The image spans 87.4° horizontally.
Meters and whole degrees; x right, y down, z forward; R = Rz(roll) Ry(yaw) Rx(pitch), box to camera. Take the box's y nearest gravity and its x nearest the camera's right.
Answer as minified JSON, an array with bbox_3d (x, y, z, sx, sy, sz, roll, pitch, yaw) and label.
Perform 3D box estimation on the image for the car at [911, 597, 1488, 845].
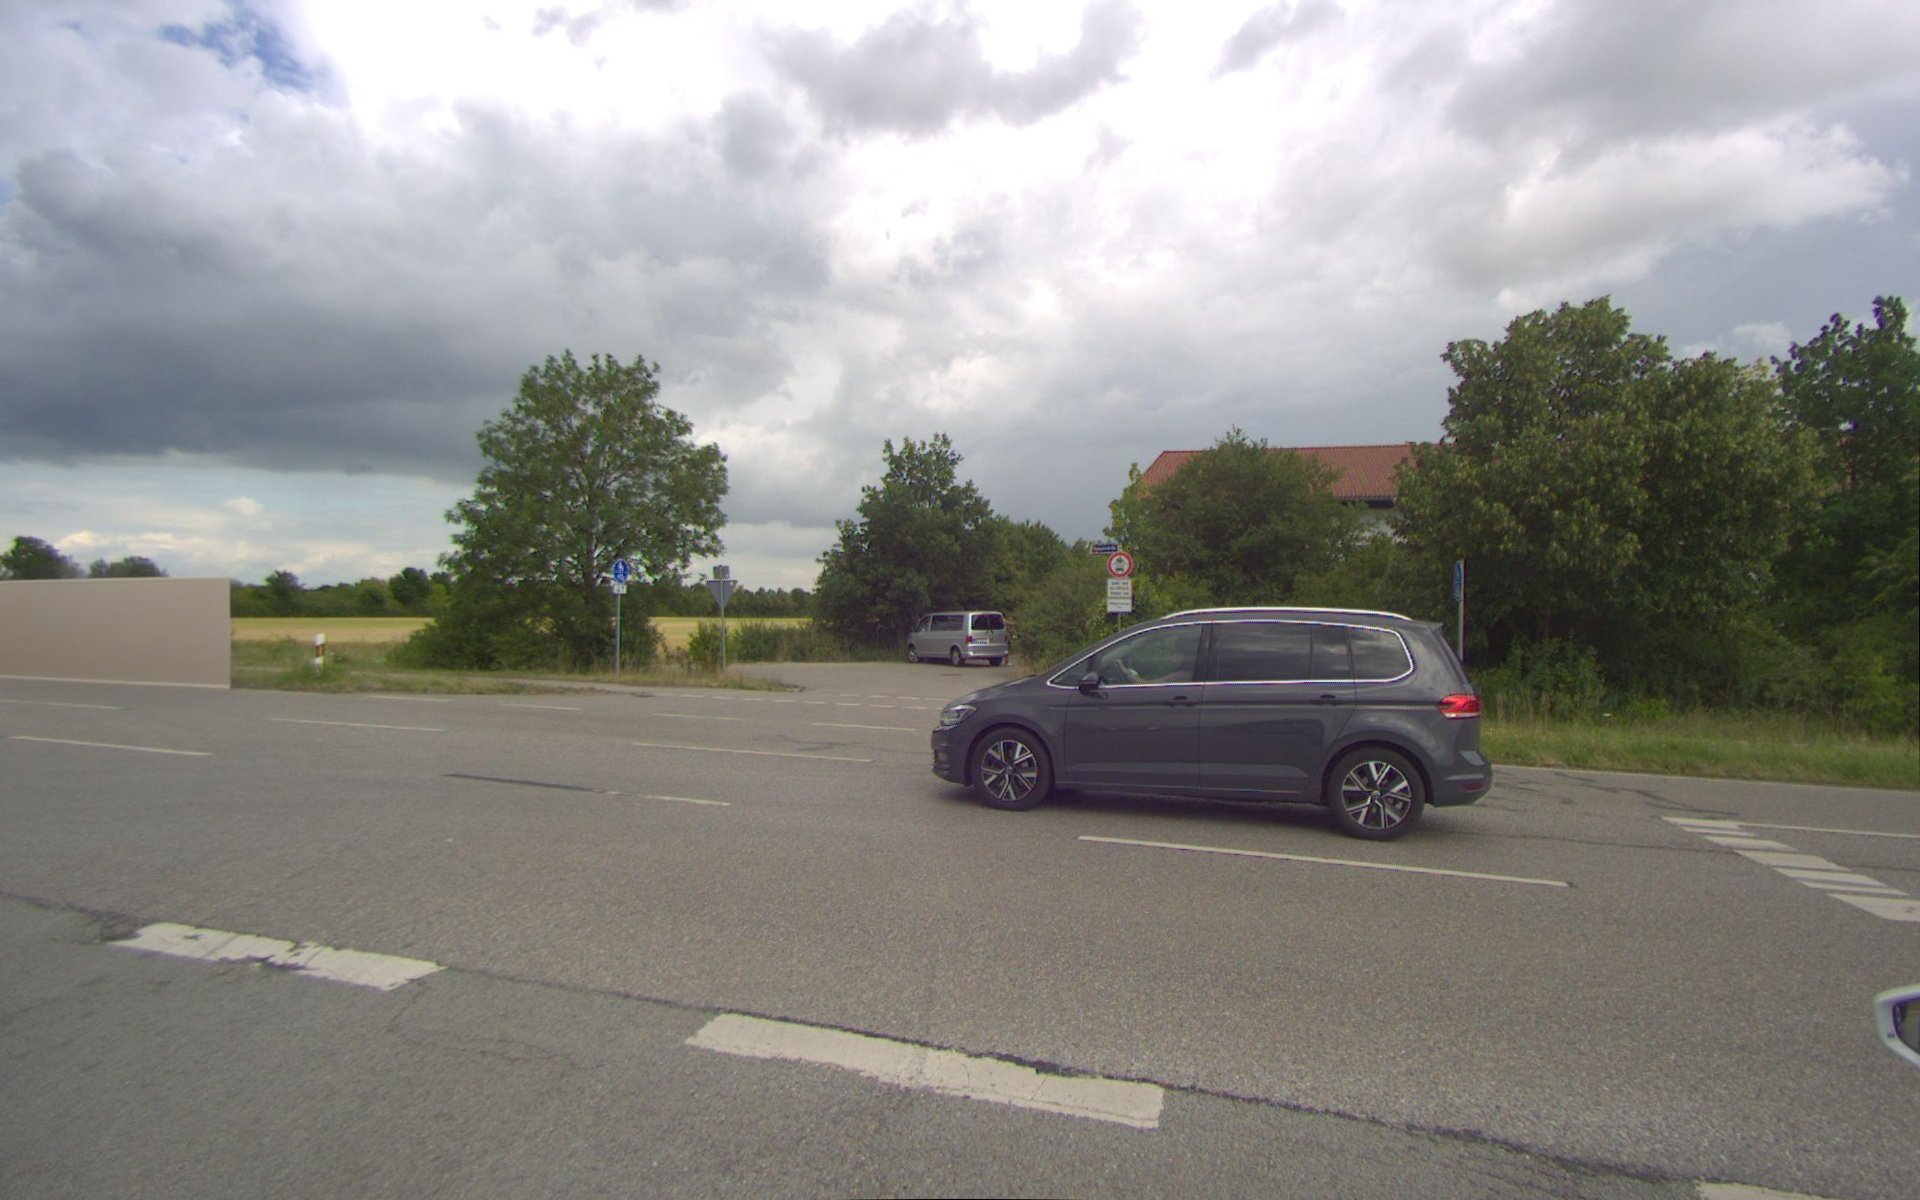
[{"bbox_3d":[1.884,0.861,8.374,4.205,1.680,1.754,0,-2,18],"label":"car"}]

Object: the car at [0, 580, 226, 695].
[{"bbox_3d":[-16.510,0.641,18.492,5.283,1.911,2.113,0,-1,18],"label":"car"}]

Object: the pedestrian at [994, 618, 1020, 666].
[{"bbox_3d":[1.733,1.537,37.007,0.690,1.746,0.732,0,-1,26],"label":"pedestrian"}]

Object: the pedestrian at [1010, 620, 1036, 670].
[{"bbox_3d":[2.255,1.591,36.017,0.712,1.746,0.792,0,-1,22],"label":"pedestrian"}]

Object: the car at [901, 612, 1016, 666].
[{"bbox_3d":[-0.144,1.409,37.835,2.088,1.911,5.059,0,-1,-31],"label":"car"}]
